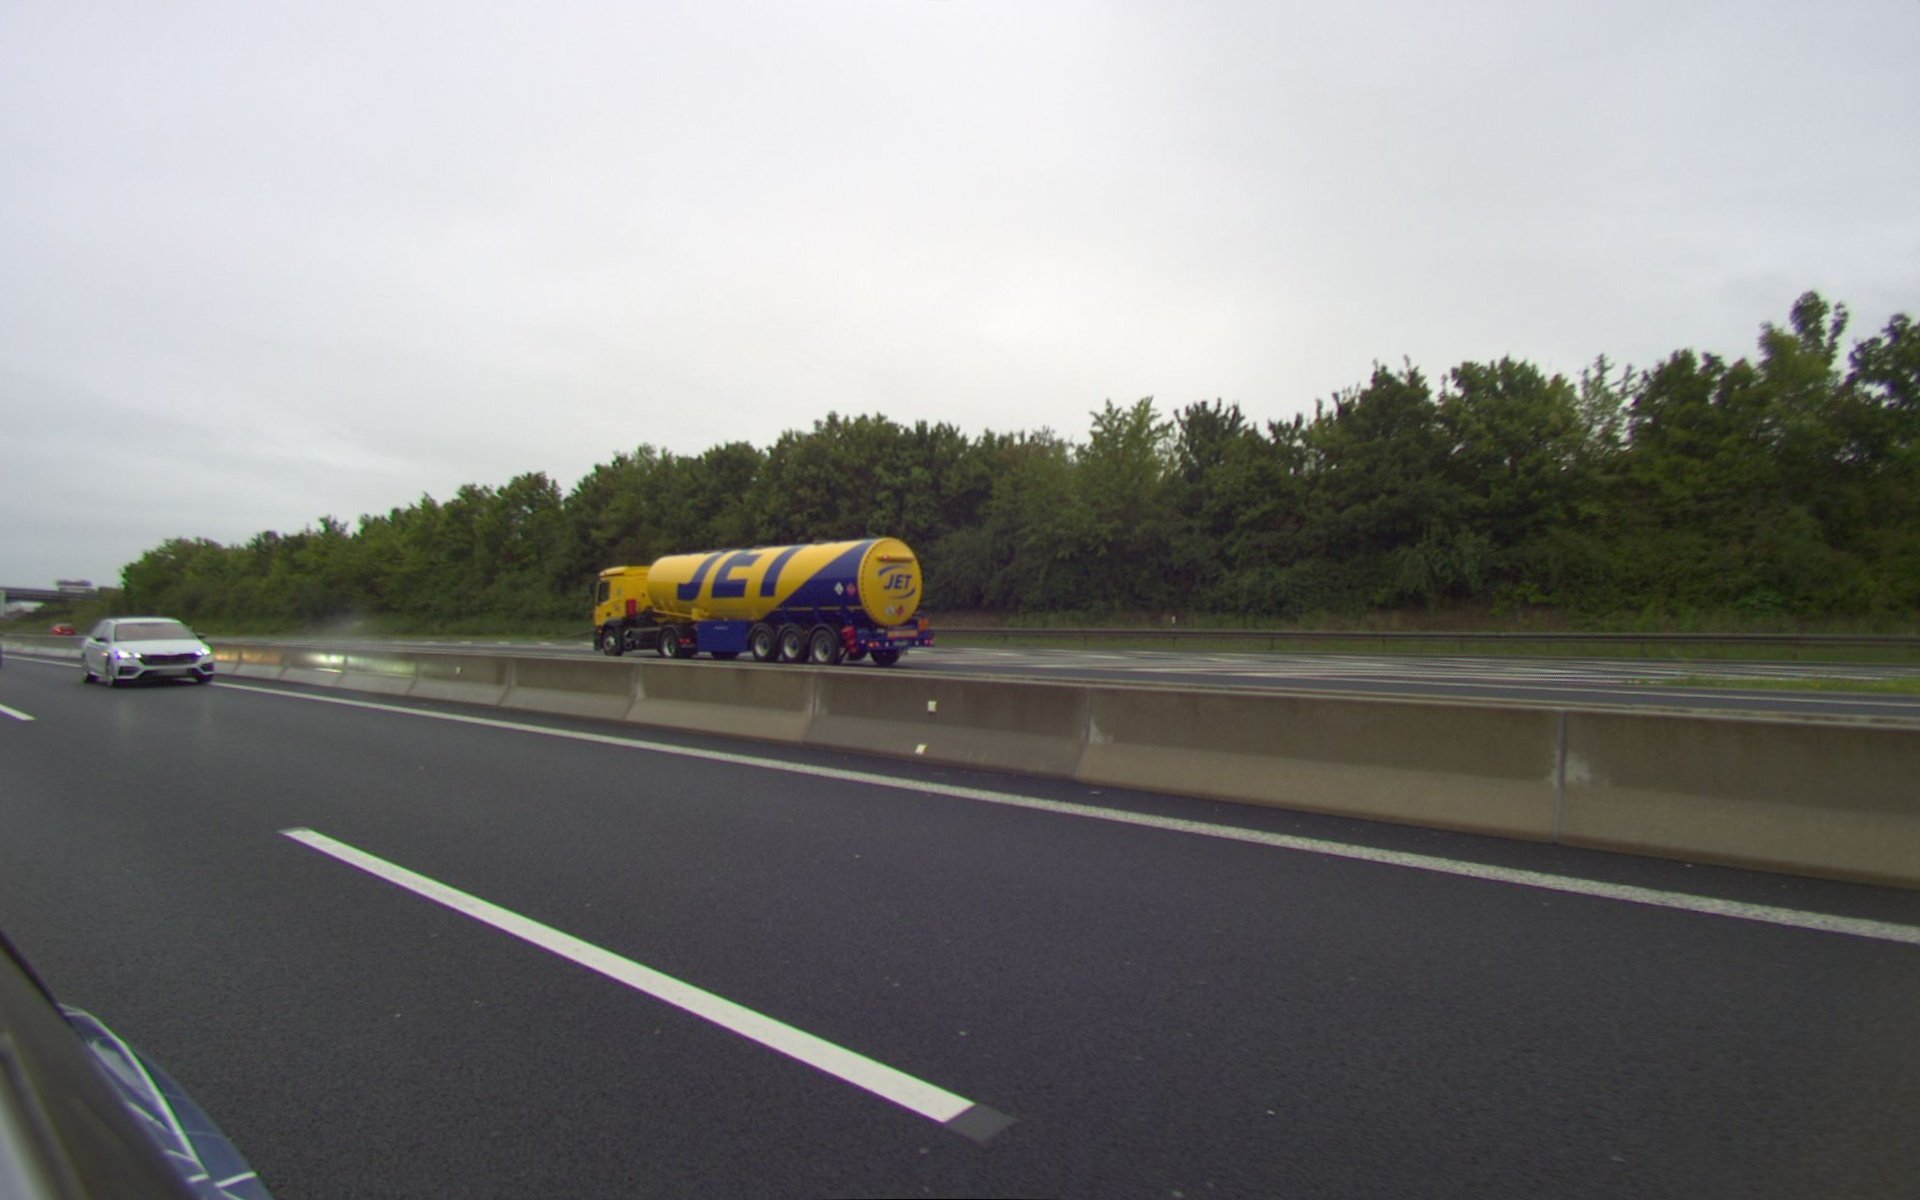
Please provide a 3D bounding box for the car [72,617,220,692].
[{"bbox_3d":[-18.113,1.152,22.464,4.112,1.518,1.880,-2,-2,41],"label":"car"}]

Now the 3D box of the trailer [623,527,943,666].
[{"bbox_3d":[-5.635,-0.019,29.683,11.444,3.424,2.732,-1,0,42],"label":"trailer"}]

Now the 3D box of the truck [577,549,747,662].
[{"bbox_3d":[-9.947,0.189,33.552,5.844,3.424,2.732,-1,0,42],"label":"truck"}]

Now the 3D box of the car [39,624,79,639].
[{"bbox_3d":[-101.662,3.571,114.186,4.610,1.708,2.164,-1,-1,31],"label":"car"}]

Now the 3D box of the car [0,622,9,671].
[{"bbox_3d":[-31.602,1.469,31.989,4.112,1.518,1.880,-2,-2,41],"label":"car"}]

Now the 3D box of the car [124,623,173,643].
[{"bbox_3d":[-74.224,3.016,92.563,4.553,1.708,2.163,-1,-1,32],"label":"car"}]
